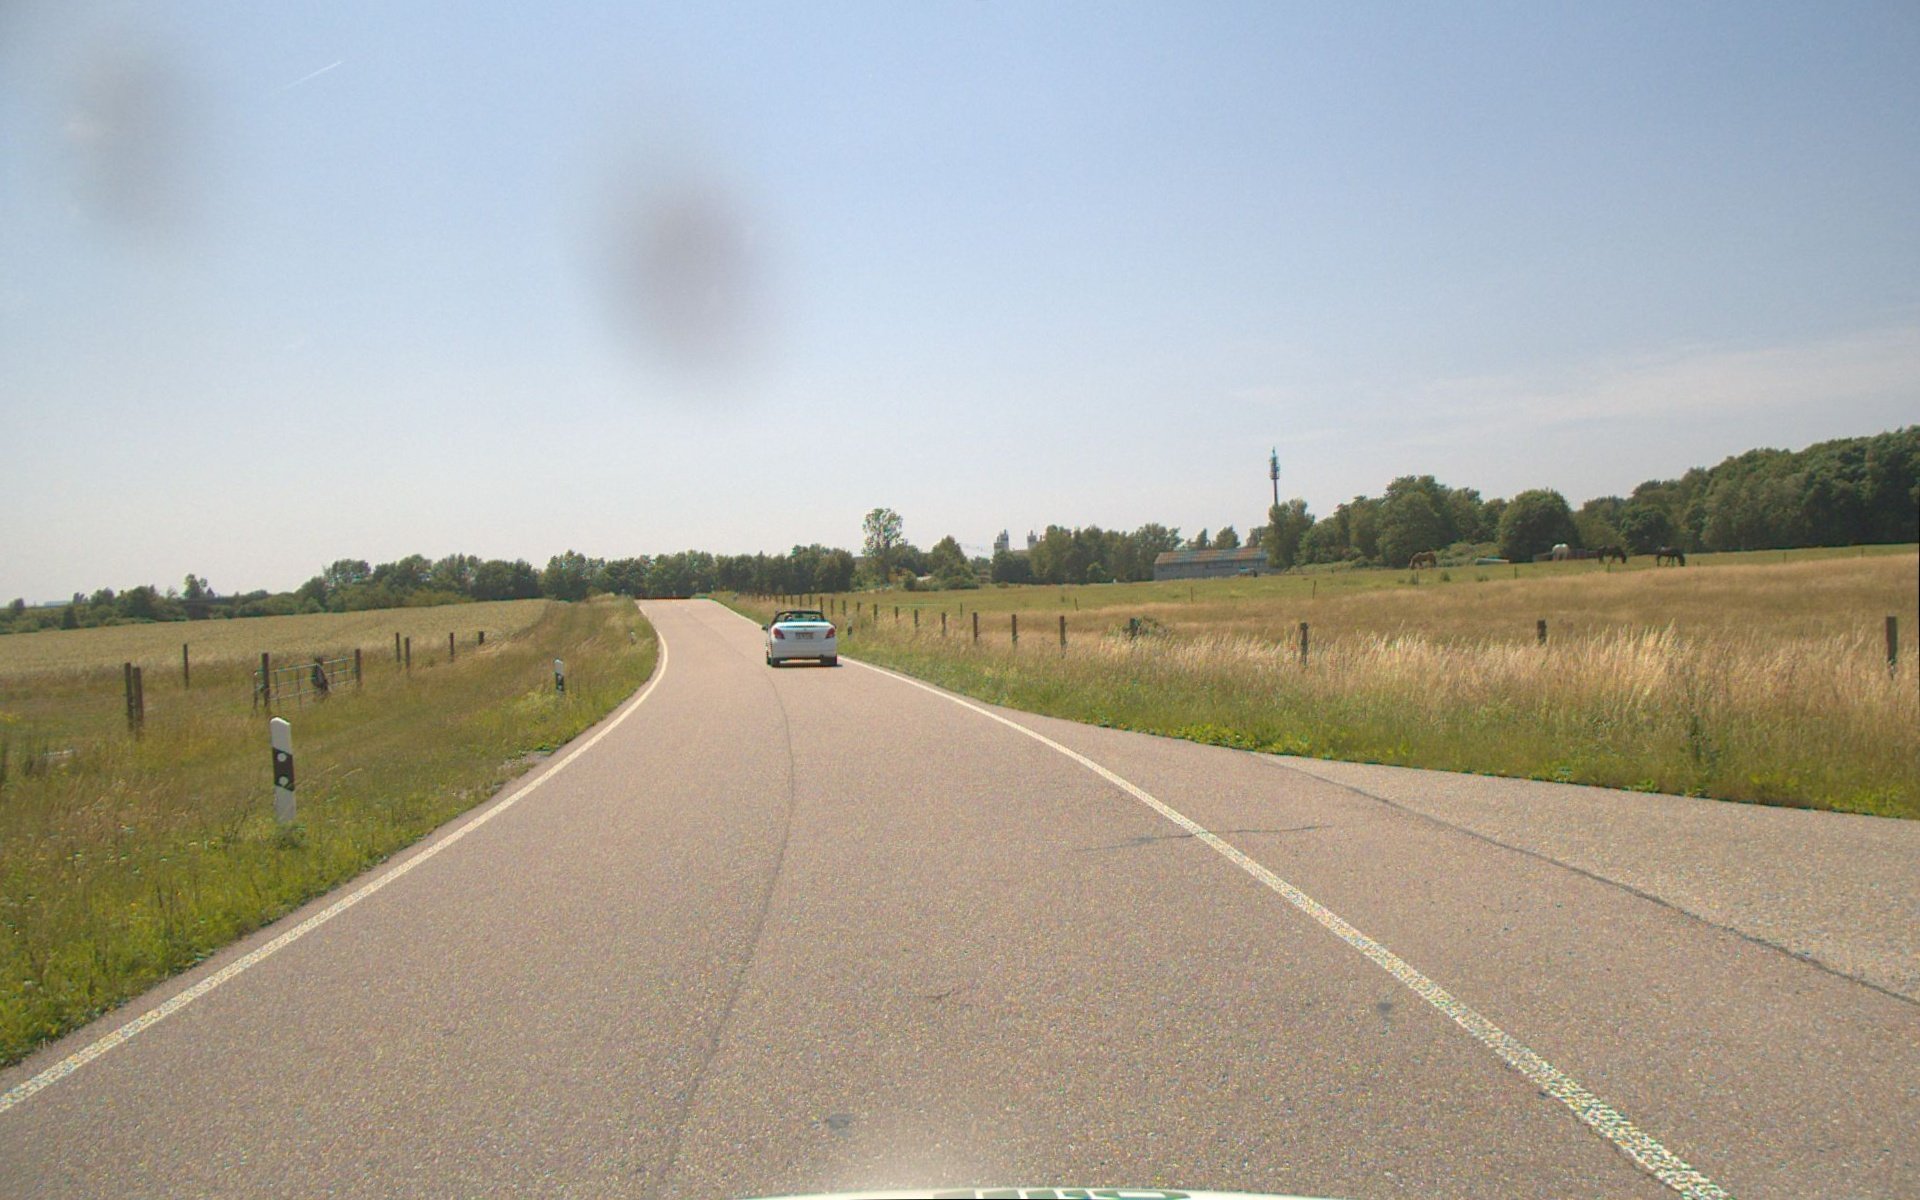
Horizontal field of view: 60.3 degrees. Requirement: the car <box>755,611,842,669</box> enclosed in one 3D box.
[{"bbox_3d":[-4.218,1.000,42.794,1.818,1.403,3.988,-1,0,-12],"label":"car"}]
